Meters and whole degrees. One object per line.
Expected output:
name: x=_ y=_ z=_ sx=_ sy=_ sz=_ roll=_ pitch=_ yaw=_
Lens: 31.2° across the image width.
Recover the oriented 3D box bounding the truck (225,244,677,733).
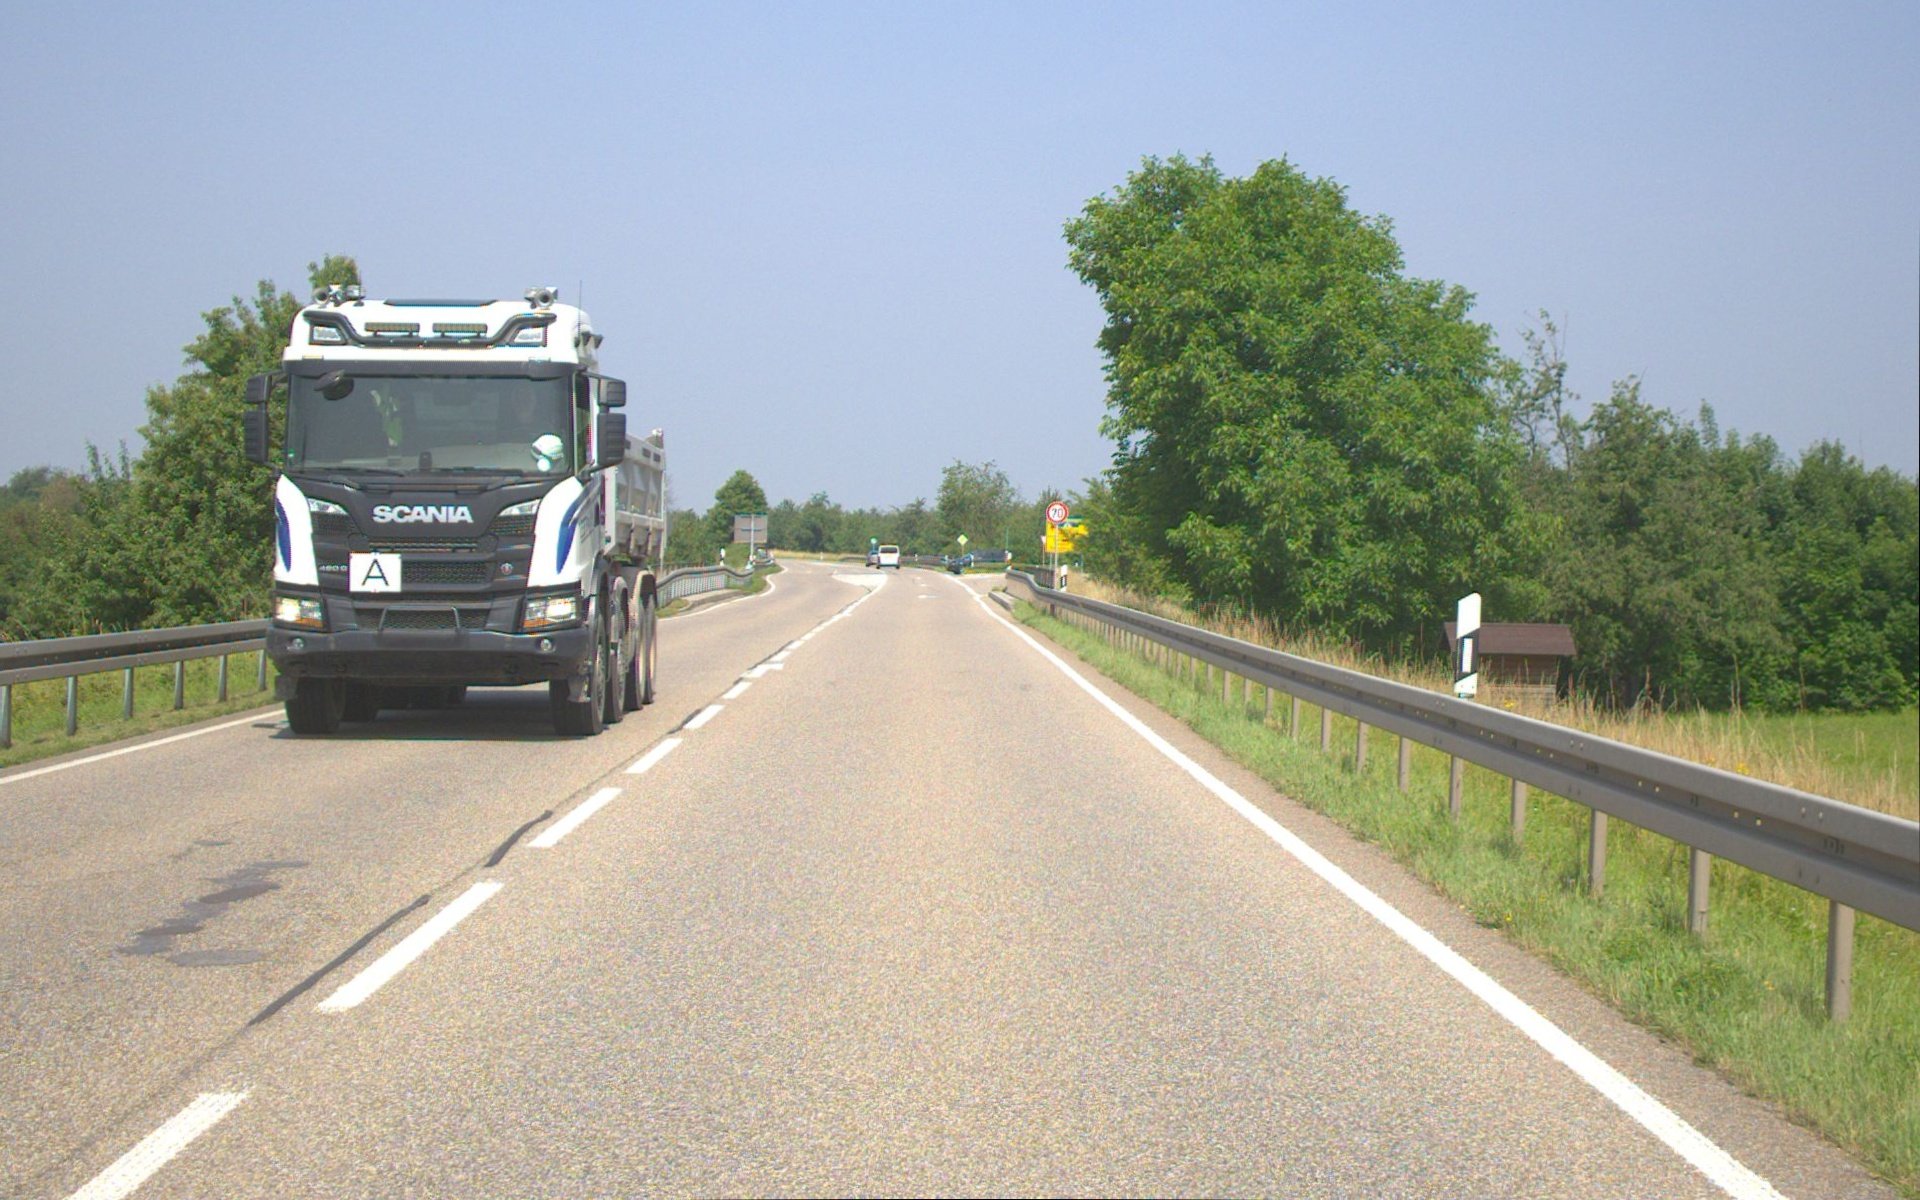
truck: x=-4.228 y=-0.878 z=30.645 sx=2.728 sy=3.659 sz=9.383 roll=1 pitch=0 yaw=-1
